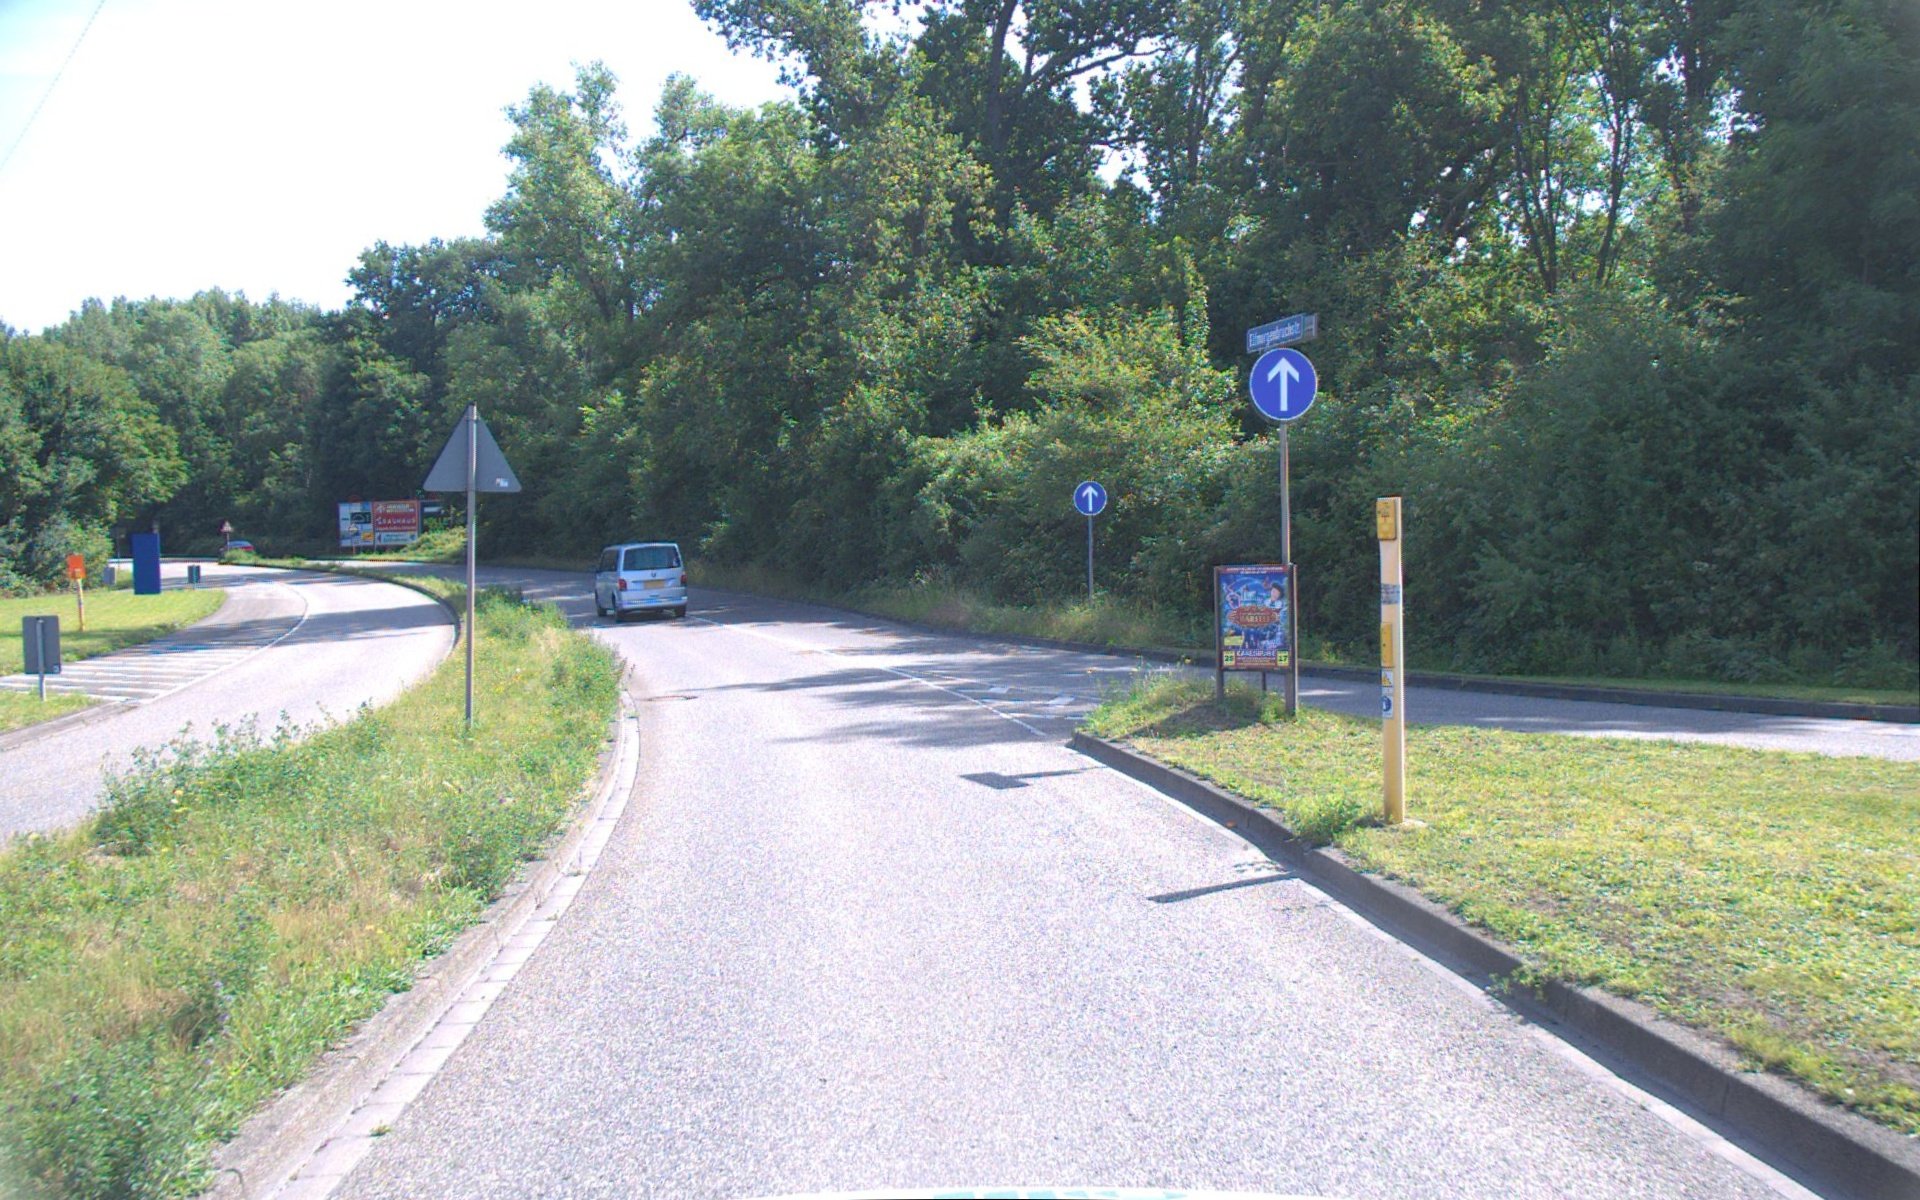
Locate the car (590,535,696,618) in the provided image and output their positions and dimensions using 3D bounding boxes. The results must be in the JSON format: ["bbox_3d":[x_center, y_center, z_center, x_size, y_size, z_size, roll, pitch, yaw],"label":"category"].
[{"bbox_3d":[-8.482,-0.643,44.072,2.011,2.048,3.974,-2,2,-22],"label":"car"}]

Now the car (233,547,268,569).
[{"bbox_3d":[-53.635,-3.152,124.976,1.634,1.593,3.612,-4,3,-35],"label":"car"}]
